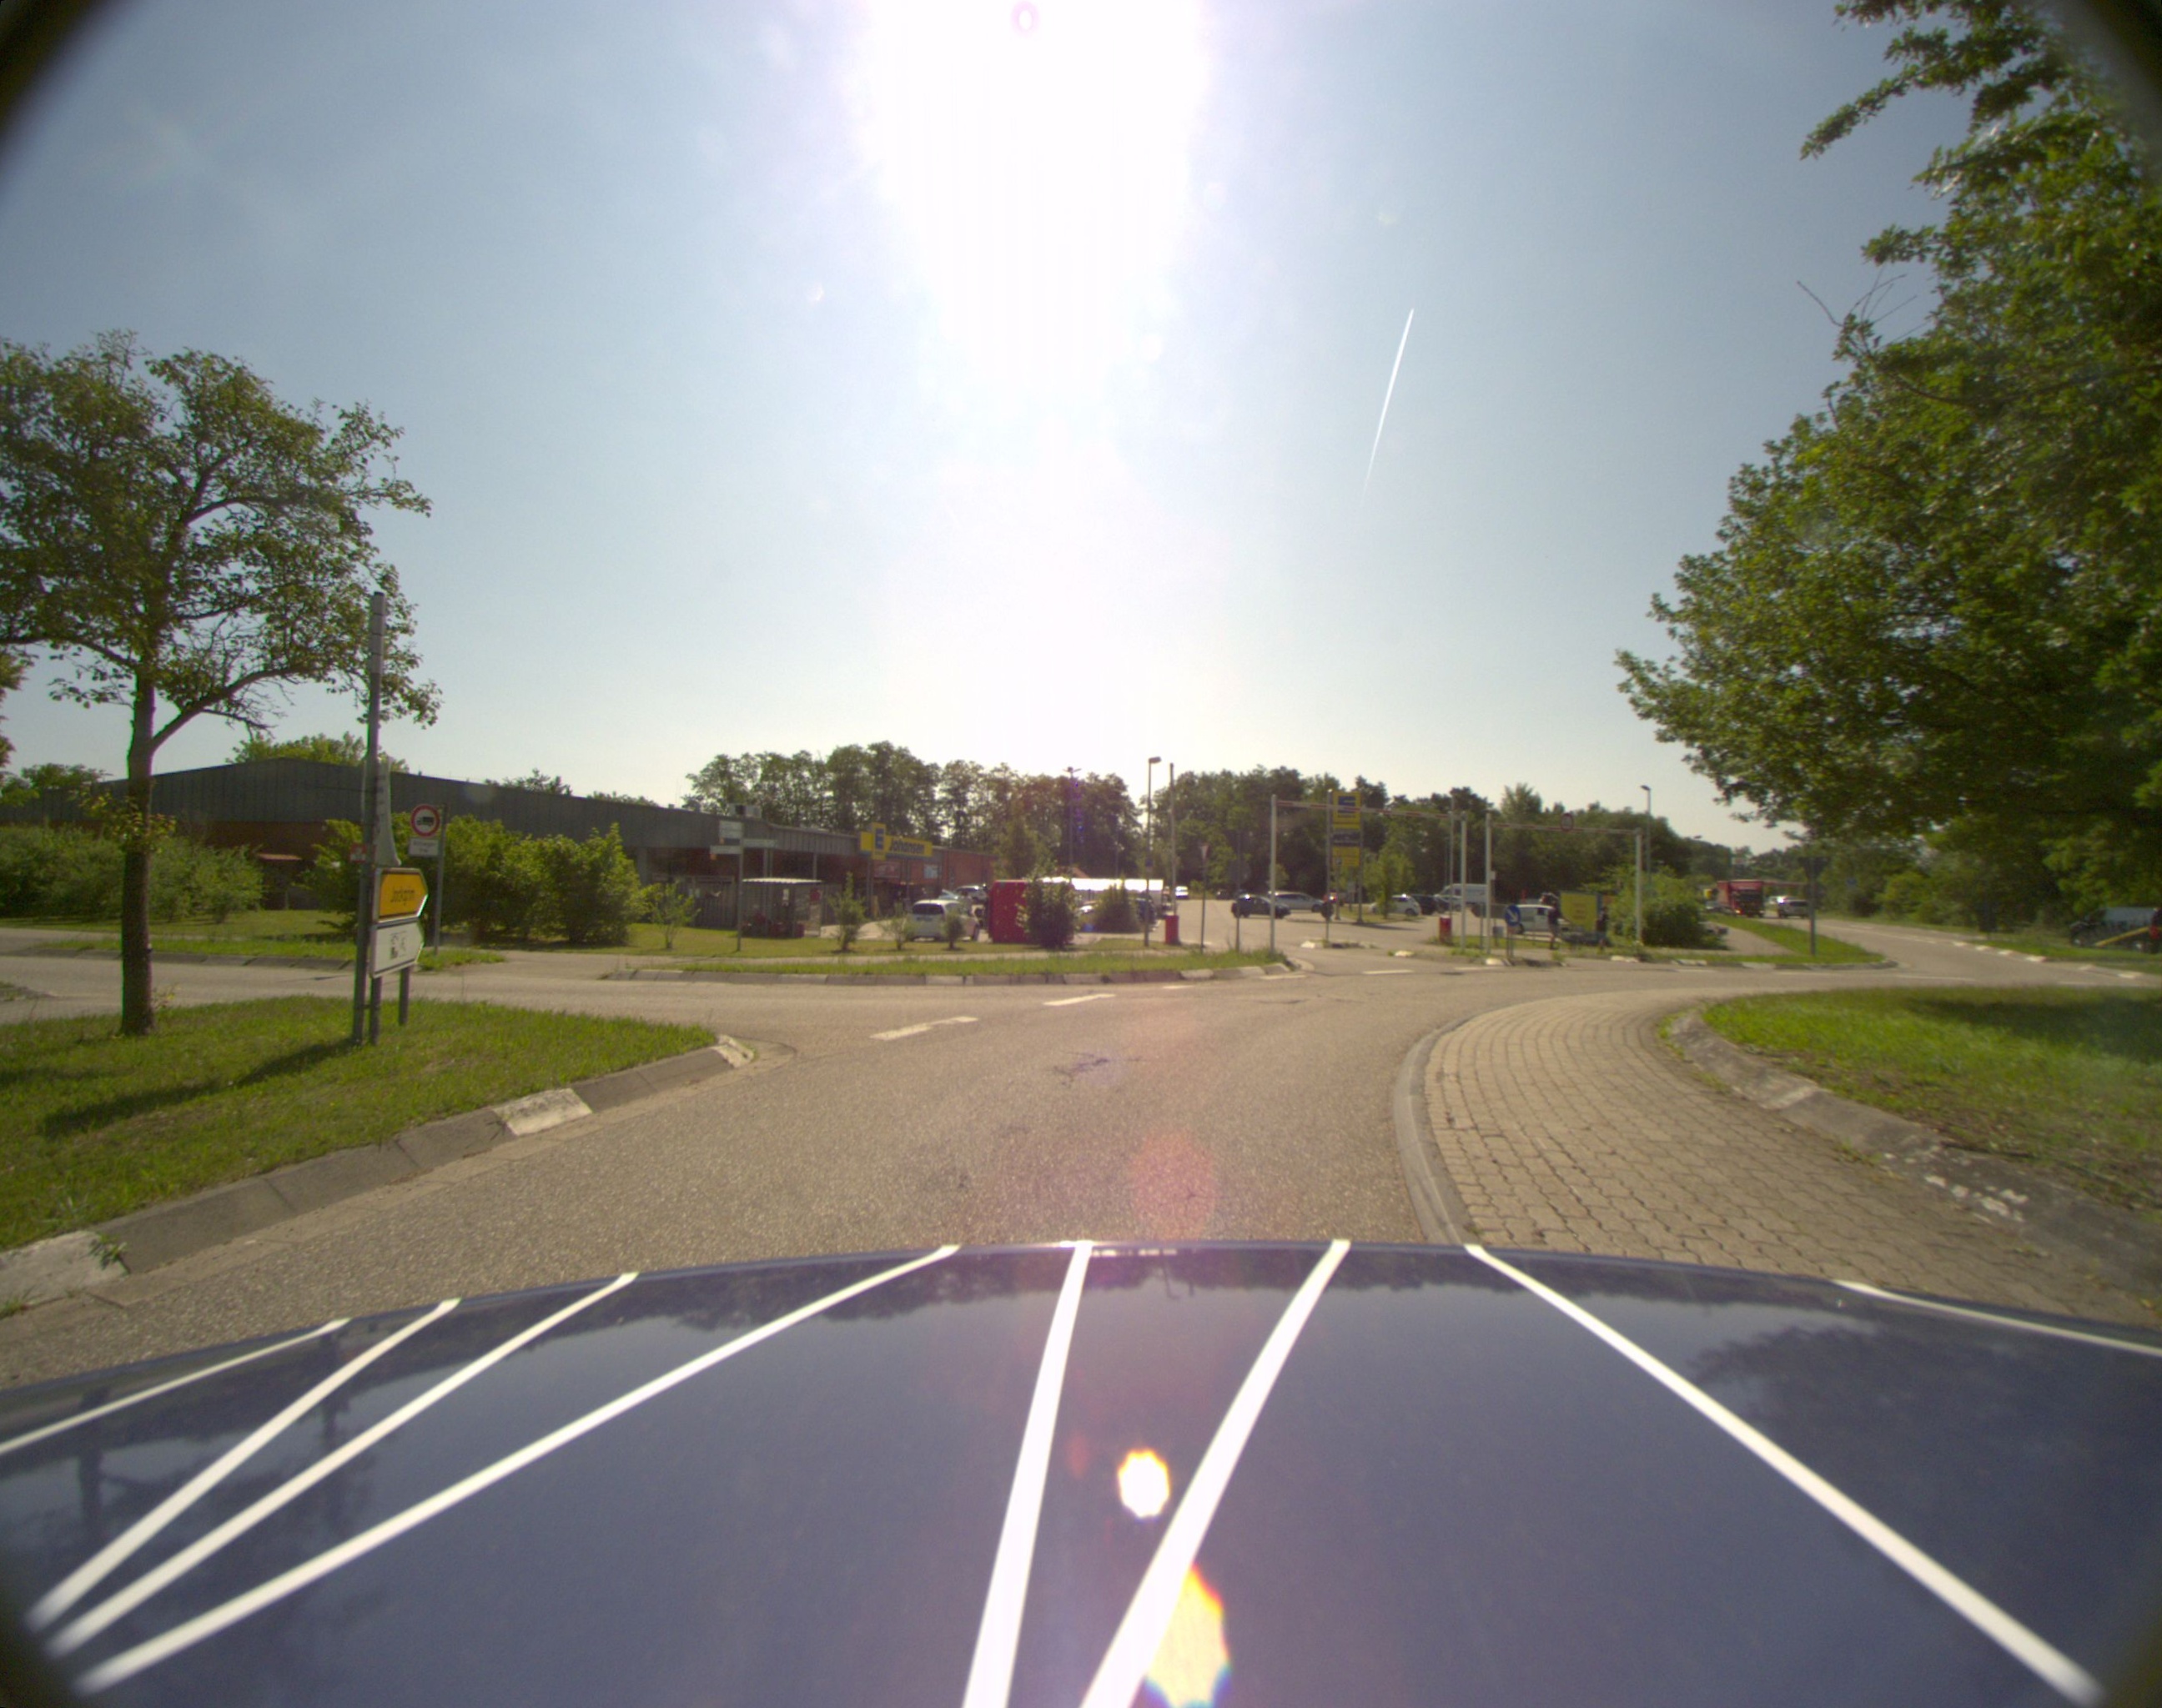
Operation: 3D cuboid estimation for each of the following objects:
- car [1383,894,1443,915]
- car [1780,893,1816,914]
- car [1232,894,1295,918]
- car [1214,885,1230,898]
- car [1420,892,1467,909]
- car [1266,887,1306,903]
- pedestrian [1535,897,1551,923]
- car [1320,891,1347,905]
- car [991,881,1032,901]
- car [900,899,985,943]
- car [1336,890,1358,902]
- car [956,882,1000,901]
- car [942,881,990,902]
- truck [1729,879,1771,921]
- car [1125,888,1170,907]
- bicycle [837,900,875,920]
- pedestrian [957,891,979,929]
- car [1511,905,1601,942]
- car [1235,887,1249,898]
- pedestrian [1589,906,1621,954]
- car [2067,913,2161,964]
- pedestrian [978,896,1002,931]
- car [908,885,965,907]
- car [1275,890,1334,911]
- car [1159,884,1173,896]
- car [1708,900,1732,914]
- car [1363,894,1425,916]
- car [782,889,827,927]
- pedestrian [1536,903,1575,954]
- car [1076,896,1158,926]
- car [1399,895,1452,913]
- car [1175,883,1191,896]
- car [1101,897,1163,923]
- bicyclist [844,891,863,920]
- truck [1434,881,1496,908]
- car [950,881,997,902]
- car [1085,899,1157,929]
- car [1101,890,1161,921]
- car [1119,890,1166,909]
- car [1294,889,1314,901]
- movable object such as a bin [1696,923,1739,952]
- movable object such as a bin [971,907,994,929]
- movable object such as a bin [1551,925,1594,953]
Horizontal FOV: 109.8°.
[{"bbox_3d":[26.588,3.987,60.934,4.155,1.564,2.005,-1,-3,33],"label":"car"},{"bbox_3d":[67.781,4.670,71.888,1.894,1.804,4.607,0,-2,35],"label":"car"},{"bbox_3d":[12.782,3.626,53.245,3.989,1.578,1.665,0,-2,30],"label":"car"},{"bbox_3d":[19.623,5.206,105.817,2.068,1.700,4.005,1,-2,9],"label":"car"},{"bbox_3d":[34.284,4.373,71.956,3.964,1.444,1.909,0,-2,25],"label":"car"},{"bbox_3d":[21.517,4.320,79.907,3.992,1.575,1.973,1,-2,13],"label":"car"},{"bbox_3d":[31.661,3.834,52.048,0.819,1.786,0.868,0,-2,38],"label":"pedestrian"},{"bbox_3d":[29.988,5.204,90.412,1.998,1.456,4.498,1,-2,5],"label":"car"},{"bbox_3d":[-7.563,4.029,82.907,3.994,2.001,2.002,1,-2,9],"label":"car"},{"bbox_3d":[-4.943,2.376,27.613,1.723,1.436,3.777,1,-3,11],"label":"car"},{"bbox_3d":[36.078,5.647,103.208,2.068,1.477,4.005,1,-2,9],"label":"car"},{"bbox_3d":[-10.174,3.682,75.278,3.995,1.804,2.001,1,-2,4],"label":"car"},{"bbox_3d":[-10.607,3.498,70.259,3.995,1.804,2.001,1,-2,4],"label":"car"},{"bbox_3d":[65.926,4.517,74.977,2.714,3.890,5.966,0,-2,37],"label":"truck"},{"bbox_3d":[6.466,4.195,73.431,3.992,1.651,2.003,0,-2,14],"label":"car"},{"bbox_3d":[-12.056,2.989,40.731,2.071,1.035,0.555,0,-2,26],"label":"bicycle"},{"bbox_3d":[-5.629,2.763,37.789,0.842,1.859,0.772,2,-2,-28],"label":"pedestrian"},{"bbox_3d":[23.836,3.455,38.150,3.595,1.552,1.818,0,-2,40],"label":"car"},{"bbox_3d":[22.153,5.268,104.549,1.660,1.477,4.378,1,-2,9],"label":"car"},{"bbox_3d":[18.443,2.656,26.739,0.597,1.637,0.702,2,-2,-23],"label":"pedestrian"},{"bbox_3d":[39.875,3.120,28.293,2.096,1.703,4.729,0,-3,28],"label":"car"},{"bbox_3d":[-4.278,2.766,35.631,0.816,1.609,0.924,2,-2,-28],"label":"pedestrian"},{"bbox_3d":[-11.524,3.329,60.703,3.995,1.673,2.002,1,-2,4],"label":"car"},{"bbox_3d":[18.736,3.918,63.848,4.554,1.691,2.002,-1,-2,8],"label":"car"},{"bbox_3d":[11.868,5.091,106.451,1.793,1.586,4.265,1,-2,8],"label":"car"},{"bbox_3d":[77.756,6.445,92.494,1.821,1.597,3.539,0,-2,34],"label":"car"},{"bbox_3d":[23.297,3.768,56.642,3.988,1.433,1.655,0,-2,35],"label":"car"},{"bbox_3d":[-12.548,2.435,34.562,1.129,1.625,1.831,0,-2,9],"label":"car"},{"bbox_3d":[17.394,2.718,27.866,0.844,1.774,0.879,2,-2,-26],"label":"pedestrian"},{"bbox_3d":[2.085,3.250,43.486,4.420,1.561,1.719,0,-2,12],"label":"car"},{"bbox_3d":[29.493,4.259,64.991,3.989,1.418,1.753,0,-2,28],"label":"car"},{"bbox_3d":[14.227,4.923,105.941,2.068,1.700,4.005,1,-2,9],"label":"car"},{"bbox_3d":[3.139,3.415,46.364,3.485,1.488,1.719,0,-3,16],"label":"car"},{"bbox_3d":[-12.230,2.750,40.836,0.676,1.505,0.608,0,-2,26],"label":"bicyclist"},{"bbox_3d":[40.739,4.280,80.567,5.601,2.589,2.208,0,-2,34],"label":"truck"},{"bbox_3d":[-10.290,3.581,72.922,3.995,1.804,2.001,1,-2,4],"label":"car"},{"bbox_3d":[2.157,3.158,40.316,3.485,1.448,1.719,0,-2,16],"label":"car"},{"bbox_3d":[3.253,3.277,48.997,3.485,1.916,1.882,0,-2,16],"label":"car"},{"bbox_3d":[5.340,3.908,65.519,3.995,1.476,1.970,1,-2,7],"label":"car"},{"bbox_3d":[30.618,5.585,104.419,2.068,1.477,4.005,1,-2,9],"label":"car"},{"bbox_3d":[26.415,3.455,31.546,1.457,1.113,0.869,2,-3,-27],"label":"movable object such as a bin"},{"bbox_3d":[-4.752,3.071,36.504,0.770,1.040,1.038,2,-3,-29],"label":"movable object such as a bin"},{"bbox_3d":[18.310,3.146,28.308,1.206,0.949,0.879,2,-2,-27],"label":"movable object such as a bin"}]
